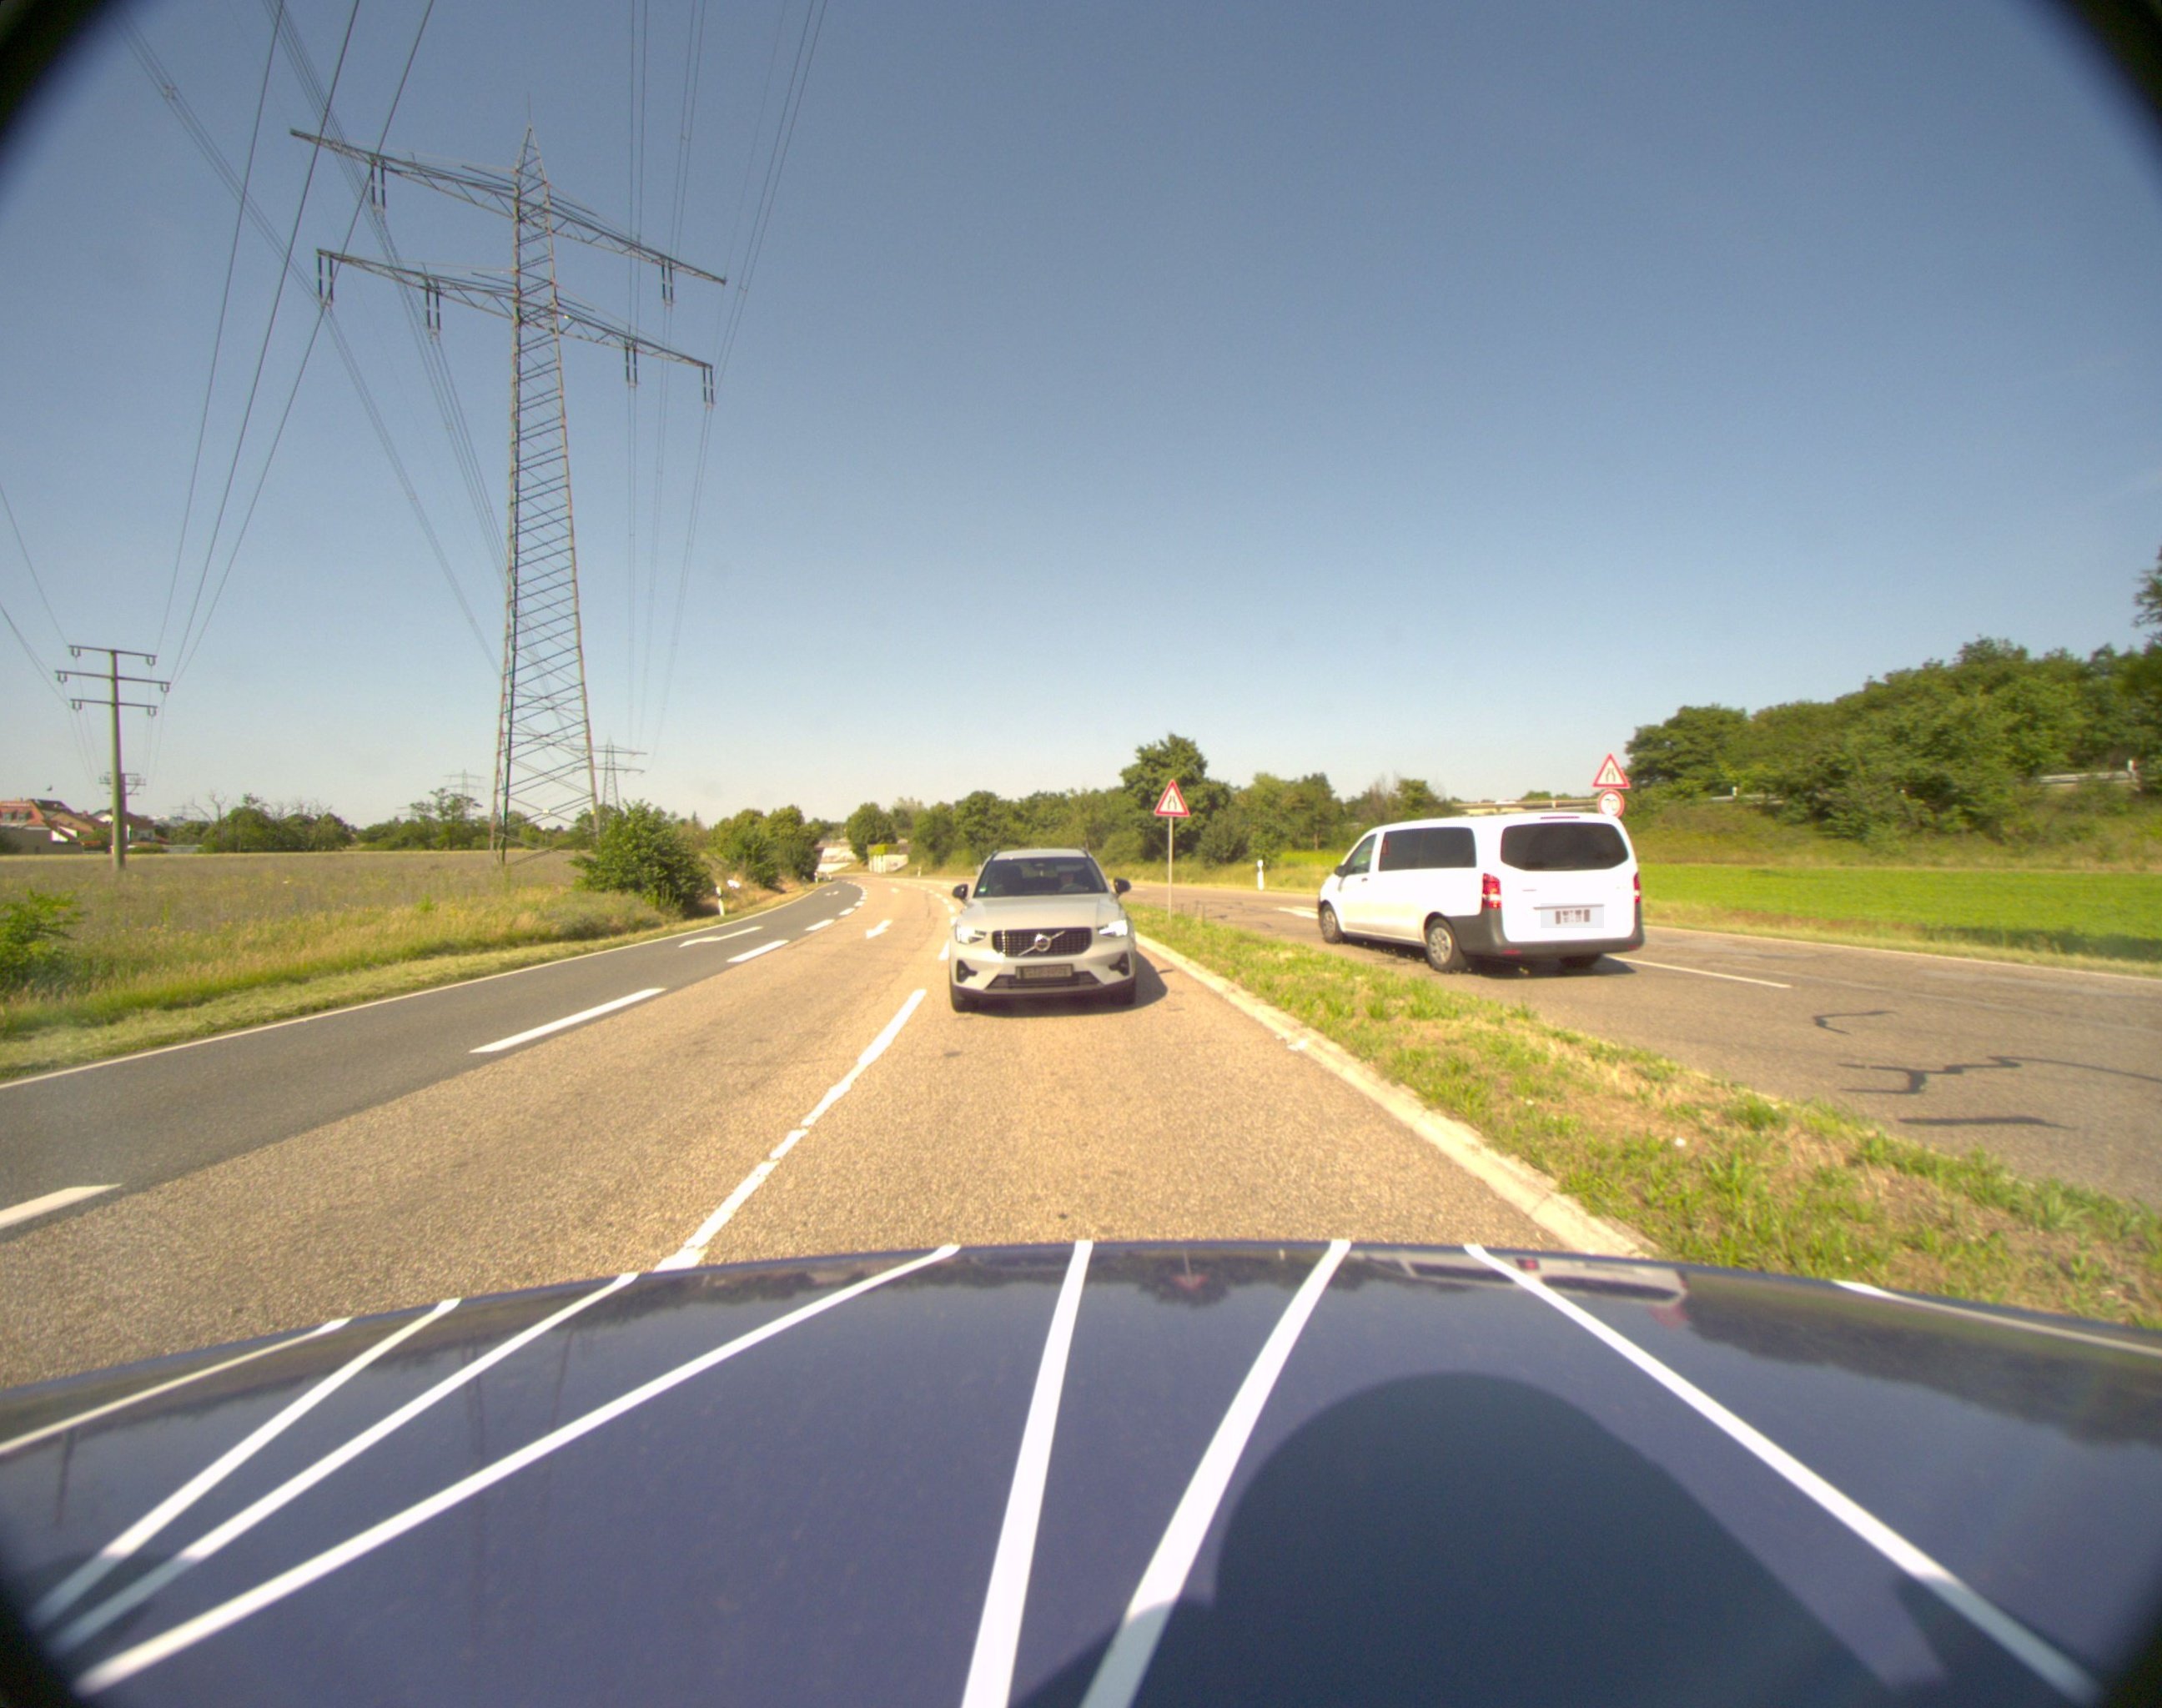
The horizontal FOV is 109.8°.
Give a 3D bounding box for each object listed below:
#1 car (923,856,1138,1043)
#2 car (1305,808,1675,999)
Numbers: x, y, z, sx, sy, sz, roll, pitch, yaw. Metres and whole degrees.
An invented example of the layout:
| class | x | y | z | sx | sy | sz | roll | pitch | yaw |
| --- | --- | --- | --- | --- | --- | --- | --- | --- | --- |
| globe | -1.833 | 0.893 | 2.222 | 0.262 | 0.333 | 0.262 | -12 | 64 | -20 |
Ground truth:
| class | x | y | z | sx | sy | sz | roll | pitch | yaw |
| --- | --- | --- | --- | --- | --- | --- | --- | --- | --- |
| car | -0.426 | 0.862 | 8.609 | 1.859 | 1.609 | 3.647 | -2 | 0 | 1 |
| car | 5.002 | 0.516 | 10.358 | 1.999 | 1.907 | 4.945 | -2 | 0 | -5 |
